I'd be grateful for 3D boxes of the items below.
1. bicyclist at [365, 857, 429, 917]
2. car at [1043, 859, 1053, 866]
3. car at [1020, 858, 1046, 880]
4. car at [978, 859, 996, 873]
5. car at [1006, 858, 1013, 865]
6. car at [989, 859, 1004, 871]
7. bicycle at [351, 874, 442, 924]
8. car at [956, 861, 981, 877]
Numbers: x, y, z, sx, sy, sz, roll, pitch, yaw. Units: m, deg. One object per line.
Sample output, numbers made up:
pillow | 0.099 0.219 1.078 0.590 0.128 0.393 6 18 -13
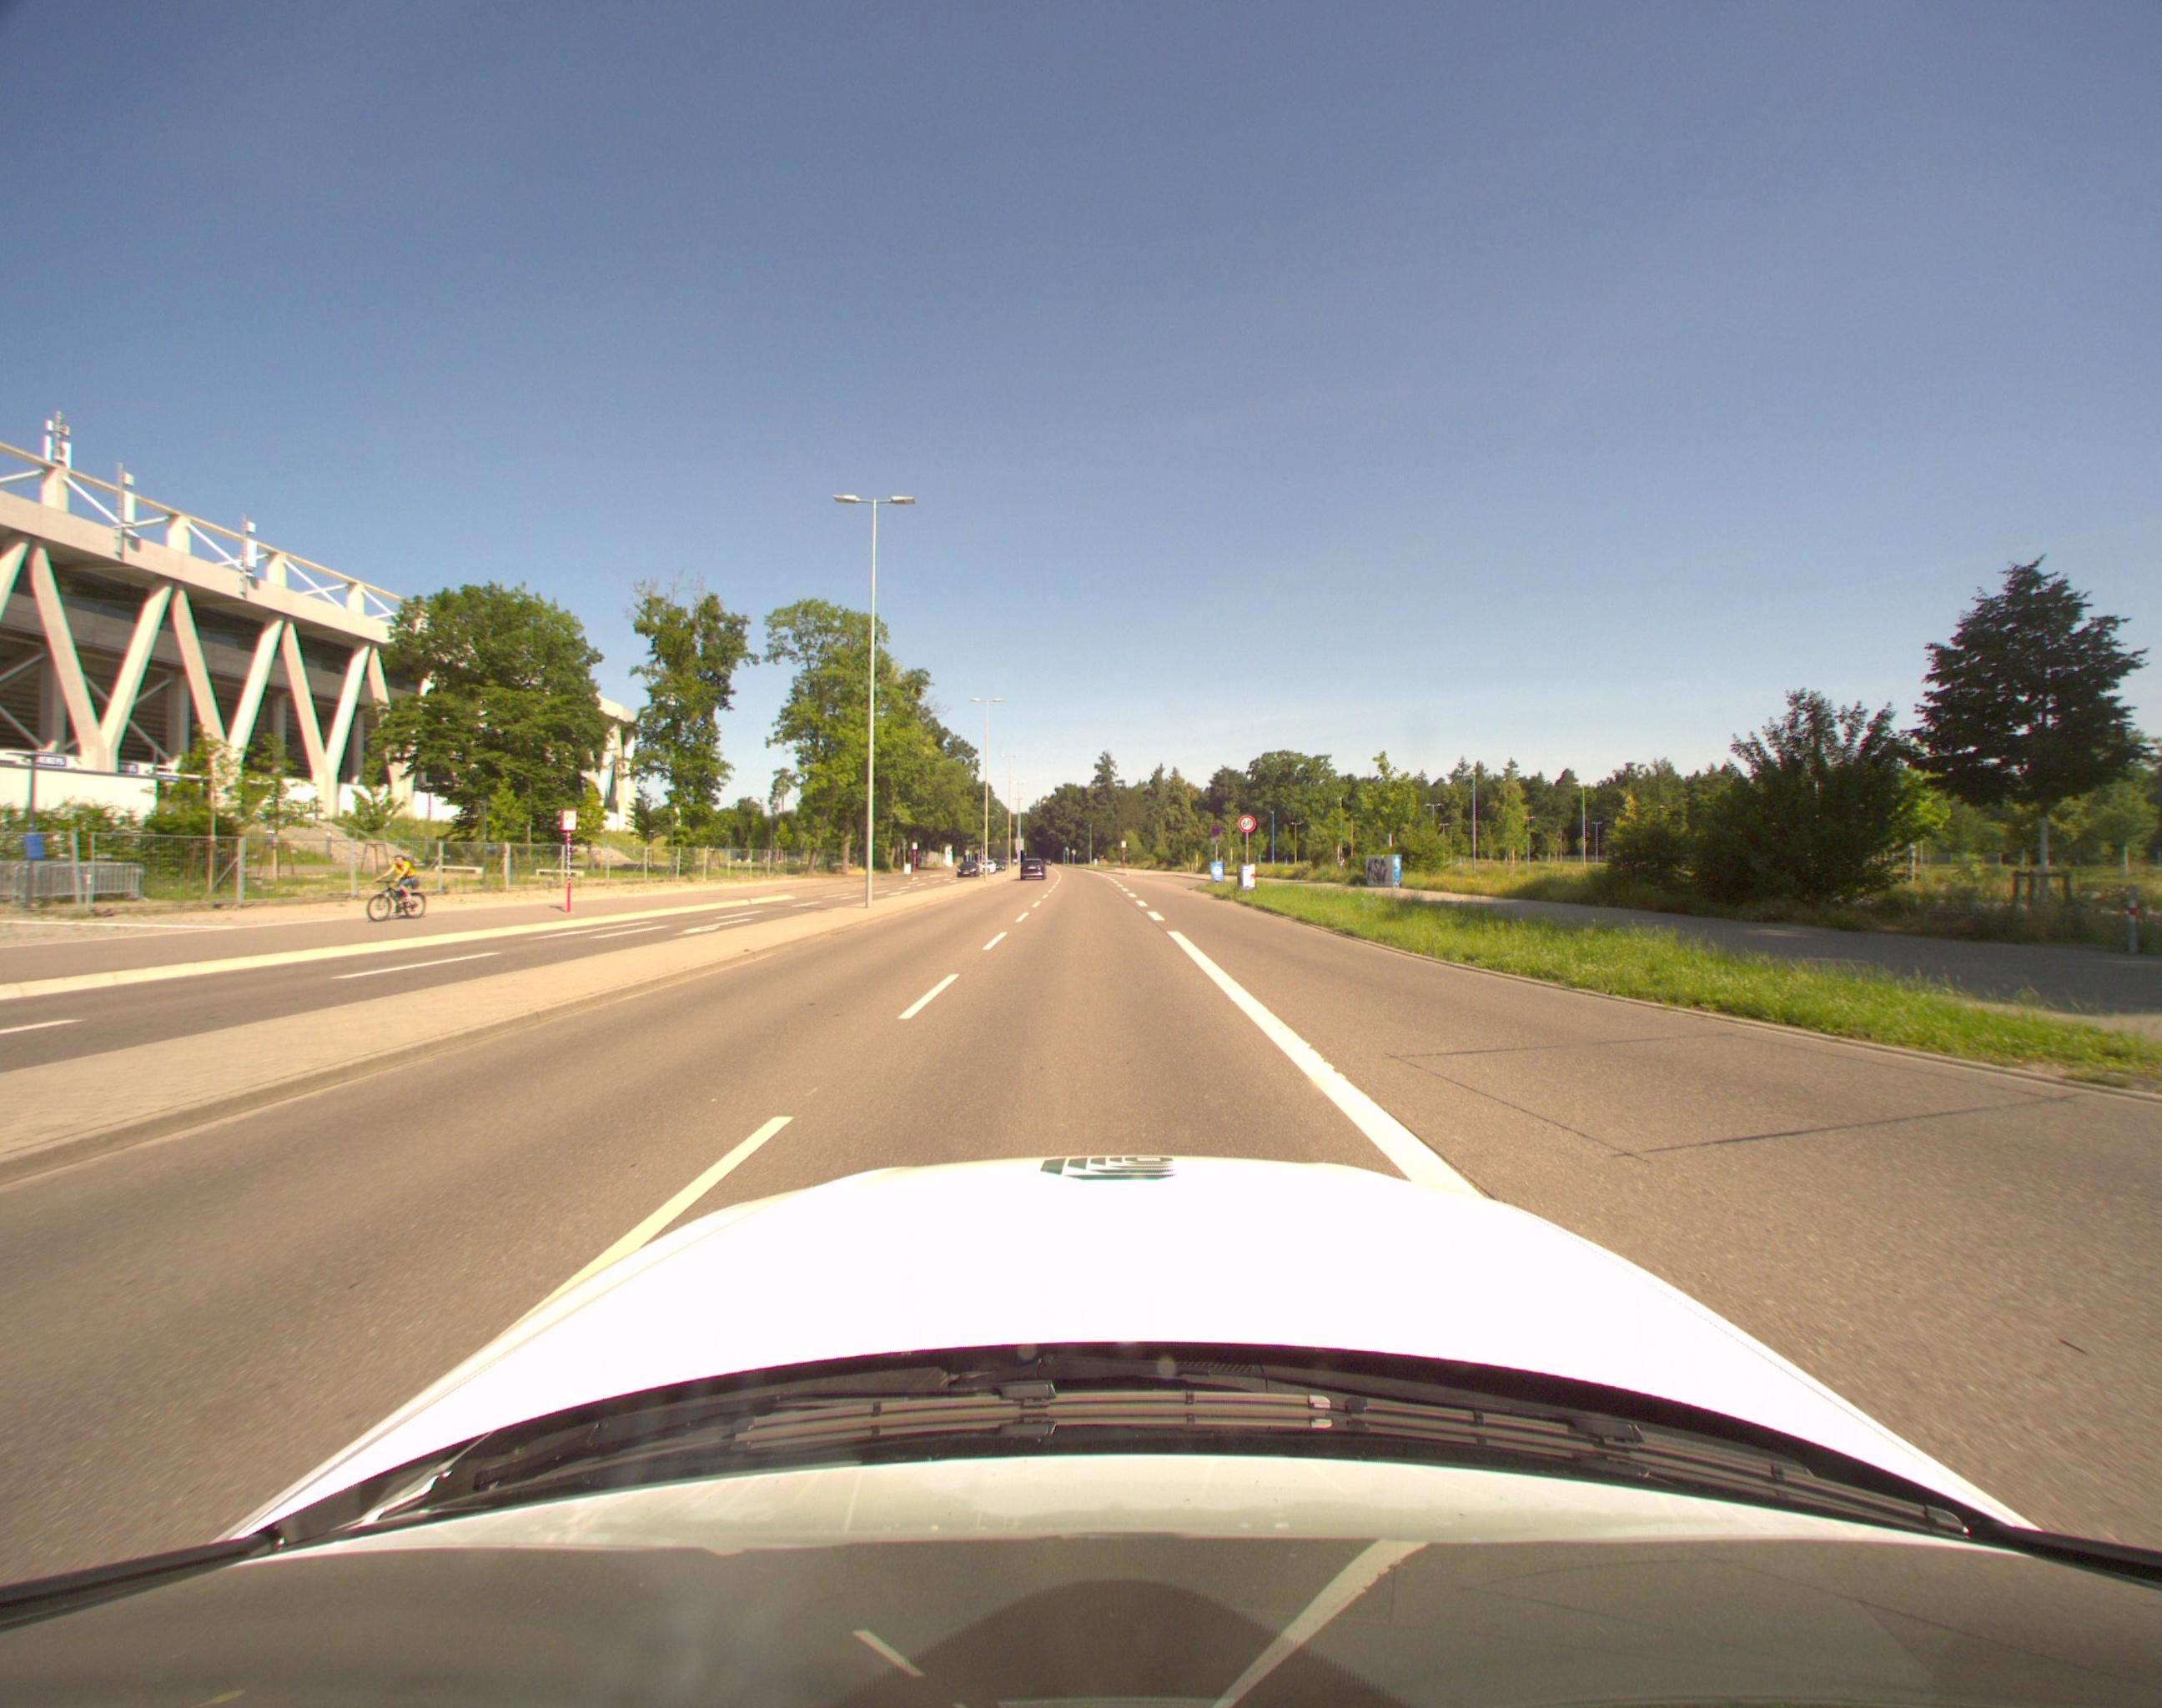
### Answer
bicyclist | -17.286 0.809 20.607 0.657 1.467 1.057 1 0 0
car | -6.841 1.815 170.708 1.937 1.420 4.286 0 0 -4
car | -3.529 1.074 60.652 1.683 1.544 4.146 -1 0 -1
car | -10.567 1.384 91.917 1.618 1.466 3.798 -2 0 -1
car | -20.549 2.286 234.432 1.838 1.932 4.622 -1 -1 -4
car | -11.456 1.468 110.894 1.749 1.486 3.943 -2 0 -3
bicycle | -17.313 1.112 20.664 0.657 1.136 1.878 1 0 1
car | -10.274 1.347 74.688 1.807 1.388 4.157 -2 0 -3
